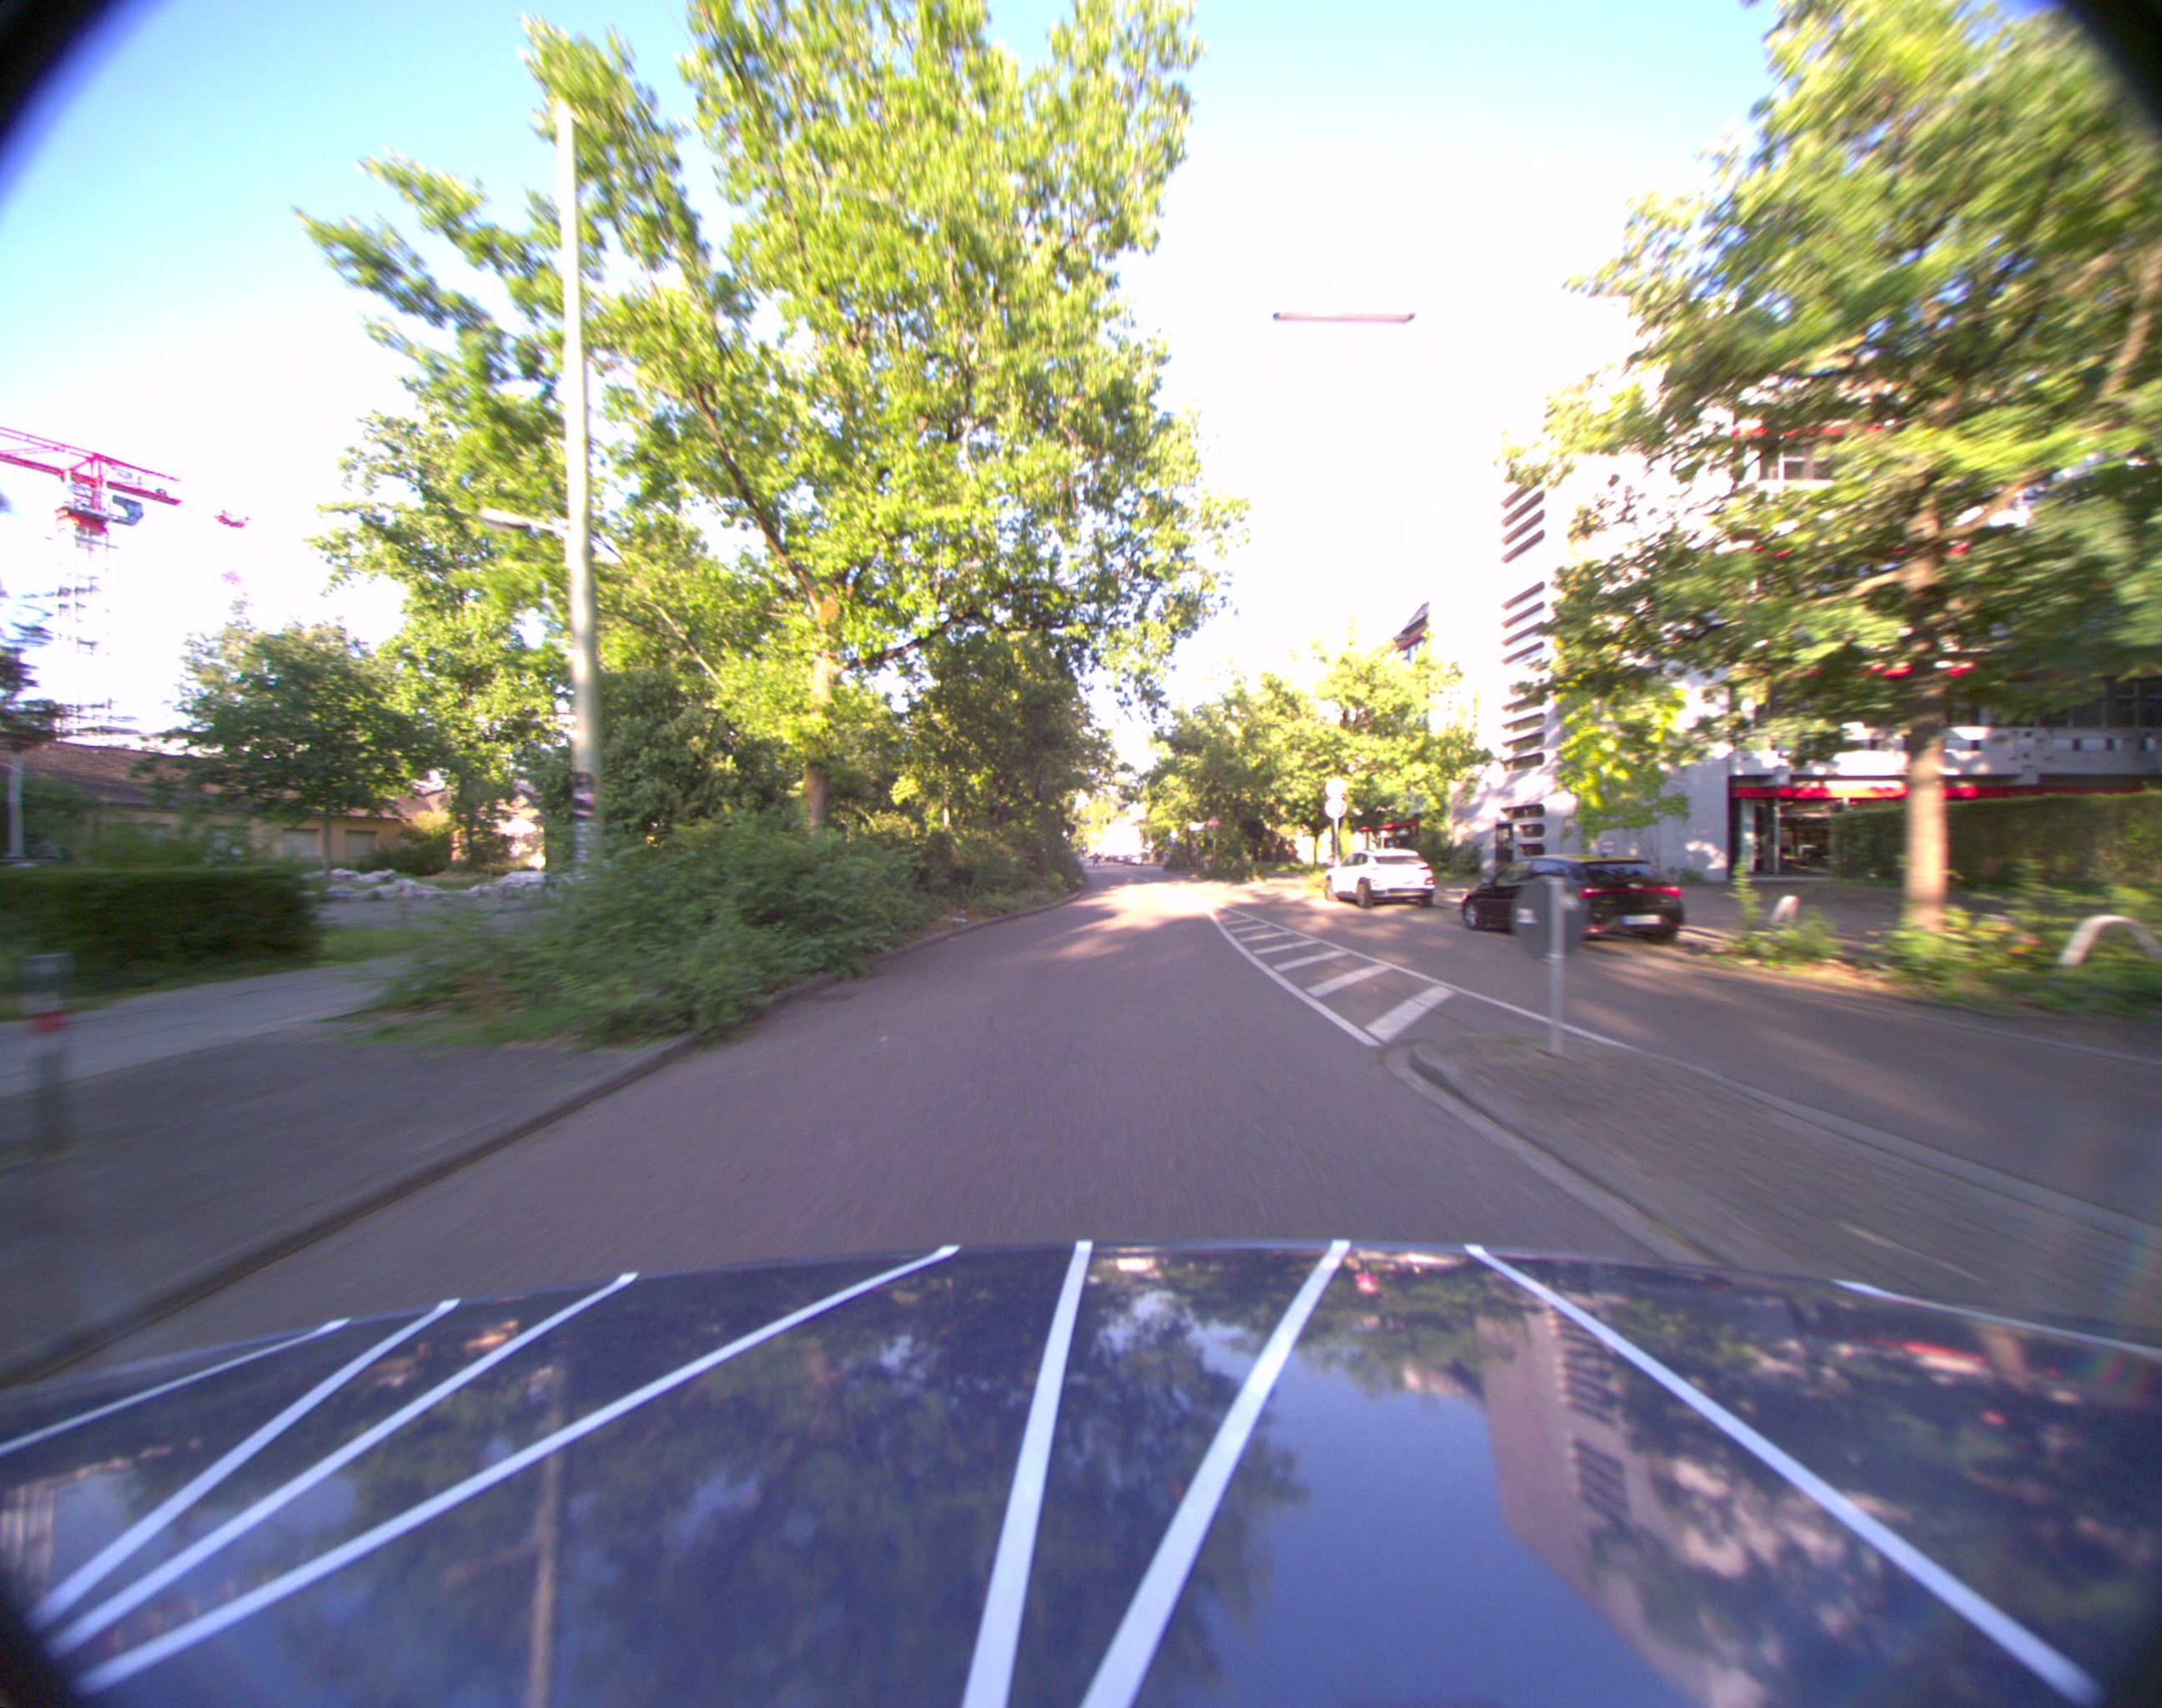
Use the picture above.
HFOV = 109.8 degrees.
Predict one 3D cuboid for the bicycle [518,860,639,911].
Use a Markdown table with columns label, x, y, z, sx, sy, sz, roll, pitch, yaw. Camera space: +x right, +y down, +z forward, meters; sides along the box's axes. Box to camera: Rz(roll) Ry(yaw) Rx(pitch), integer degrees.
| label | x | y | z | sx | sy | sz | roll | pitch | yaw |
| --- | --- | --- | --- | --- | --- | --- | --- | --- | --- |
| bicycle | -12.827 | 0.781 | 19.490 | 2.452 | 1.214 | 0.750 | 0 | 1 | -17 |

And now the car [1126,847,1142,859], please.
| label | x | y | z | sx | sy | sz | roll | pitch | yaw |
| --- | --- | --- | --- | --- | --- | --- | --- | --- | --- |
| car | 7.254 | -0.139 | 104.658 | 1.776 | 1.559 | 4.108 | -2 | 0 | -1 |

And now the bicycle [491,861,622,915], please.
| label | x | y | z | sx | sy | sz | roll | pitch | yaw |
| --- | --- | --- | --- | --- | --- | --- | --- | --- | --- |
| bicycle | -12.515 | 0.795 | 18.196 | 2.451 | 1.214 | 0.750 | 0 | 1 | -14 |

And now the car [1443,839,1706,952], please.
| label | x | y | z | sx | sy | sz | roll | pitch | yaw |
| --- | --- | --- | --- | --- | --- | --- | --- | --- | --- |
| car | 8.181 | 0.580 | 13.135 | 1.784 | 1.607 | 4.146 | -1 | 1 | -1 |

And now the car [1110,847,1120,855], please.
| label | x | y | z | sx | sy | sz | roll | pitch | yaw |
| --- | --- | --- | --- | --- | --- | --- | --- | --- | --- |
| car | 6.853 | -0.579 | 153.360 | 1.776 | 1.559 | 4.108 | -2 | 0 | -1 |

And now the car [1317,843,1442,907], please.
| label | x | y | z | sx | sy | sz | roll | pitch | yaw |
| --- | --- | --- | --- | --- | --- | --- | --- | --- | --- |
| car | 8.212 | 0.514 | 21.313 | 1.808 | 1.607 | 4.146 | 0 | 1 | -1 |

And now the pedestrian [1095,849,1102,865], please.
| label | x | y | z | sx | sy | sz | roll | pitch | yaw |
| --- | --- | --- | --- | --- | --- | --- | --- | --- | --- |
| pedestrian | 2.072 | 0.308 | 88.822 | 0.784 | 1.825 | 0.672 | -2 | 1 | 3 |

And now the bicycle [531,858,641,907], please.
| label | x | y | z | sx | sy | sz | roll | pitch | yaw |
| --- | --- | --- | --- | --- | --- | --- | --- | --- | --- |
| bicycle | -13.828 | 0.771 | 21.294 | 2.452 | 1.291 | 0.750 | 0 | 1 | -17 |

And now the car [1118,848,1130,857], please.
| label | x | y | z | sx | sy | sz | roll | pitch | yaw |
| --- | --- | --- | --- | --- | --- | --- | --- | --- | --- |
| car | 7.225 | -0.286 | 128.316 | 1.776 | 1.559 | 4.108 | -2 | 0 | -1 |

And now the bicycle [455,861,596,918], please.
| label | x | y | z | sx | sy | sz | roll | pitch | yaw |
| --- | --- | --- | --- | --- | --- | --- | --- | --- | --- |
| bicycle | -12.576 | 0.782 | 17.286 | 2.451 | 1.214 | 0.750 | 0 | 1 | -14 |

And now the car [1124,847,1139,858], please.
| label | x | y | z | sx | sy | sz | roll | pitch | yaw |
| --- | --- | --- | --- | --- | --- | --- | --- | --- | --- |
| car | 7.271 | -0.196 | 110.147 | 1.776 | 1.559 | 4.108 | -2 | 0 | -1 |

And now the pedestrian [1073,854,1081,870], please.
| label | x | y | z | sx | sy | sz | roll | pitch | yaw |
| --- | --- | --- | --- | --- | --- | --- | --- | --- | --- |
| pedestrian | -0.488 | 0.921 | 90.641 | 0.783 | 1.825 | 0.673 | -2 | 1 | 8 |

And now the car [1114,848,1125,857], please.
| label | x | y | z | sx | sy | sz | roll | pitch | yaw |
| --- | --- | --- | --- | --- | --- | --- | --- | --- | --- |
| car | 7.208 | -0.316 | 143.453 | 1.776 | 1.559 | 4.108 | -2 | 0 | -1 |

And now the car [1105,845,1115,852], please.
| label | x | y | z | sx | sy | sz | roll | pitch | yaw |
| --- | --- | --- | --- | --- | --- | --- | --- | --- | --- |
| car | 6.400 | -1.167 | 167.879 | 1.776 | 1.559 | 4.108 | -2 | 0 | -1 |

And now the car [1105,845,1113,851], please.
| label | x | y | z | sx | sy | sz | roll | pitch | yaw |
| --- | --- | --- | --- | --- | --- | --- | --- | --- | --- |
| car | 6.856 | -1.454 | 189.235 | 1.776 | 1.559 | 4.108 | -2 | 0 | -1 |

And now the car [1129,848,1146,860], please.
| label | x | y | z | sx | sy | sz | roll | pitch | yaw |
| --- | --- | --- | --- | --- | --- | --- | --- | --- | --- |
| car | 7.306 | -0.007 | 98.491 | 1.776 | 1.474 | 4.108 | -2 | 0 | -1 |
